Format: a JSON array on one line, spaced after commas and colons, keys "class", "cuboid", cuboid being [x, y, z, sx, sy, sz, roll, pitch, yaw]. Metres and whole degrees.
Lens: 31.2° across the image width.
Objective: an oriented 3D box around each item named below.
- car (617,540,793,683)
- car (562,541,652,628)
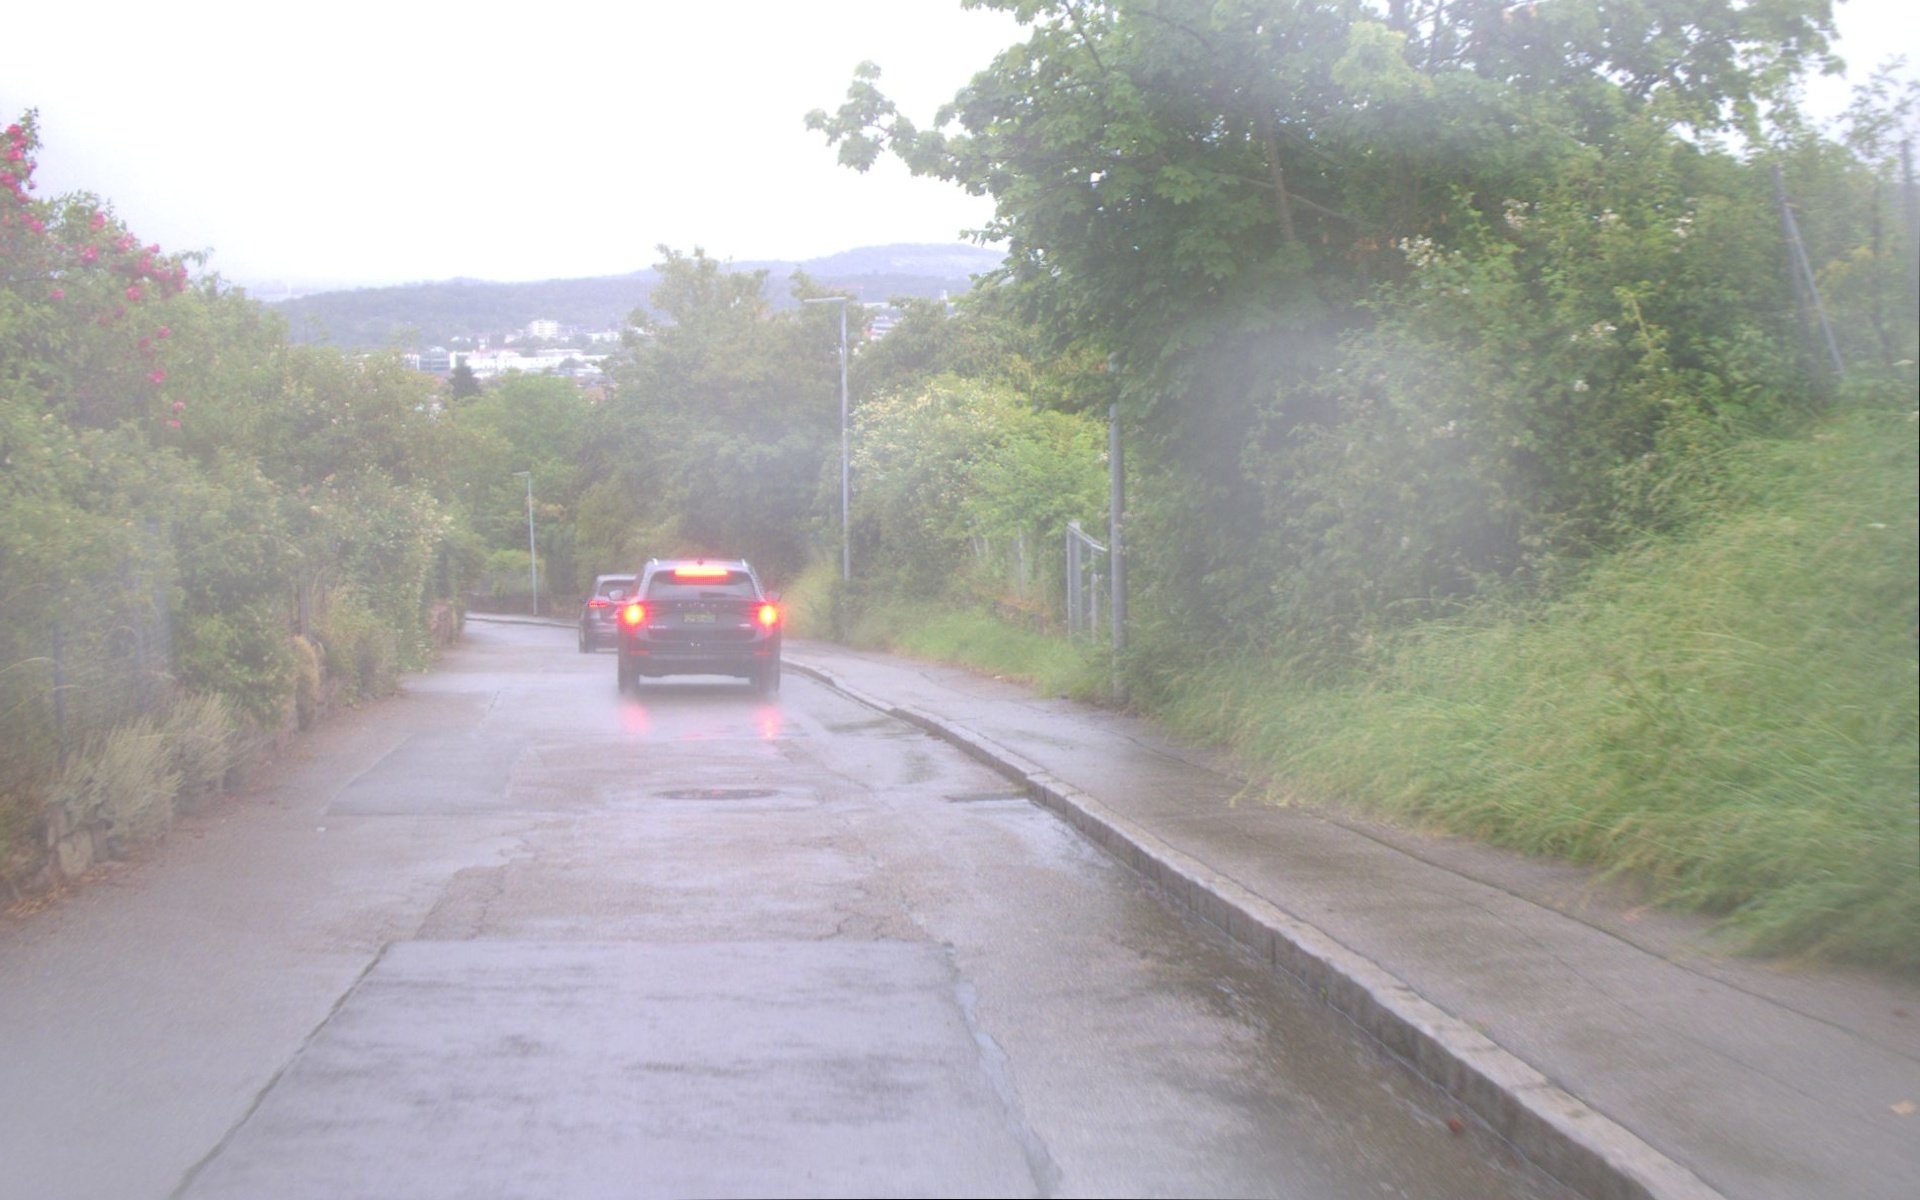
[{"class": "car", "cuboid": [-2.843, 0.087, 38.374, 1.834, 1.459, 4.001, -1, 1, -4]}, {"class": "car", "cuboid": [-6.857, -0.322, 66.512, 1.678, 1.560, 3.795, 0, 2, -7]}]
